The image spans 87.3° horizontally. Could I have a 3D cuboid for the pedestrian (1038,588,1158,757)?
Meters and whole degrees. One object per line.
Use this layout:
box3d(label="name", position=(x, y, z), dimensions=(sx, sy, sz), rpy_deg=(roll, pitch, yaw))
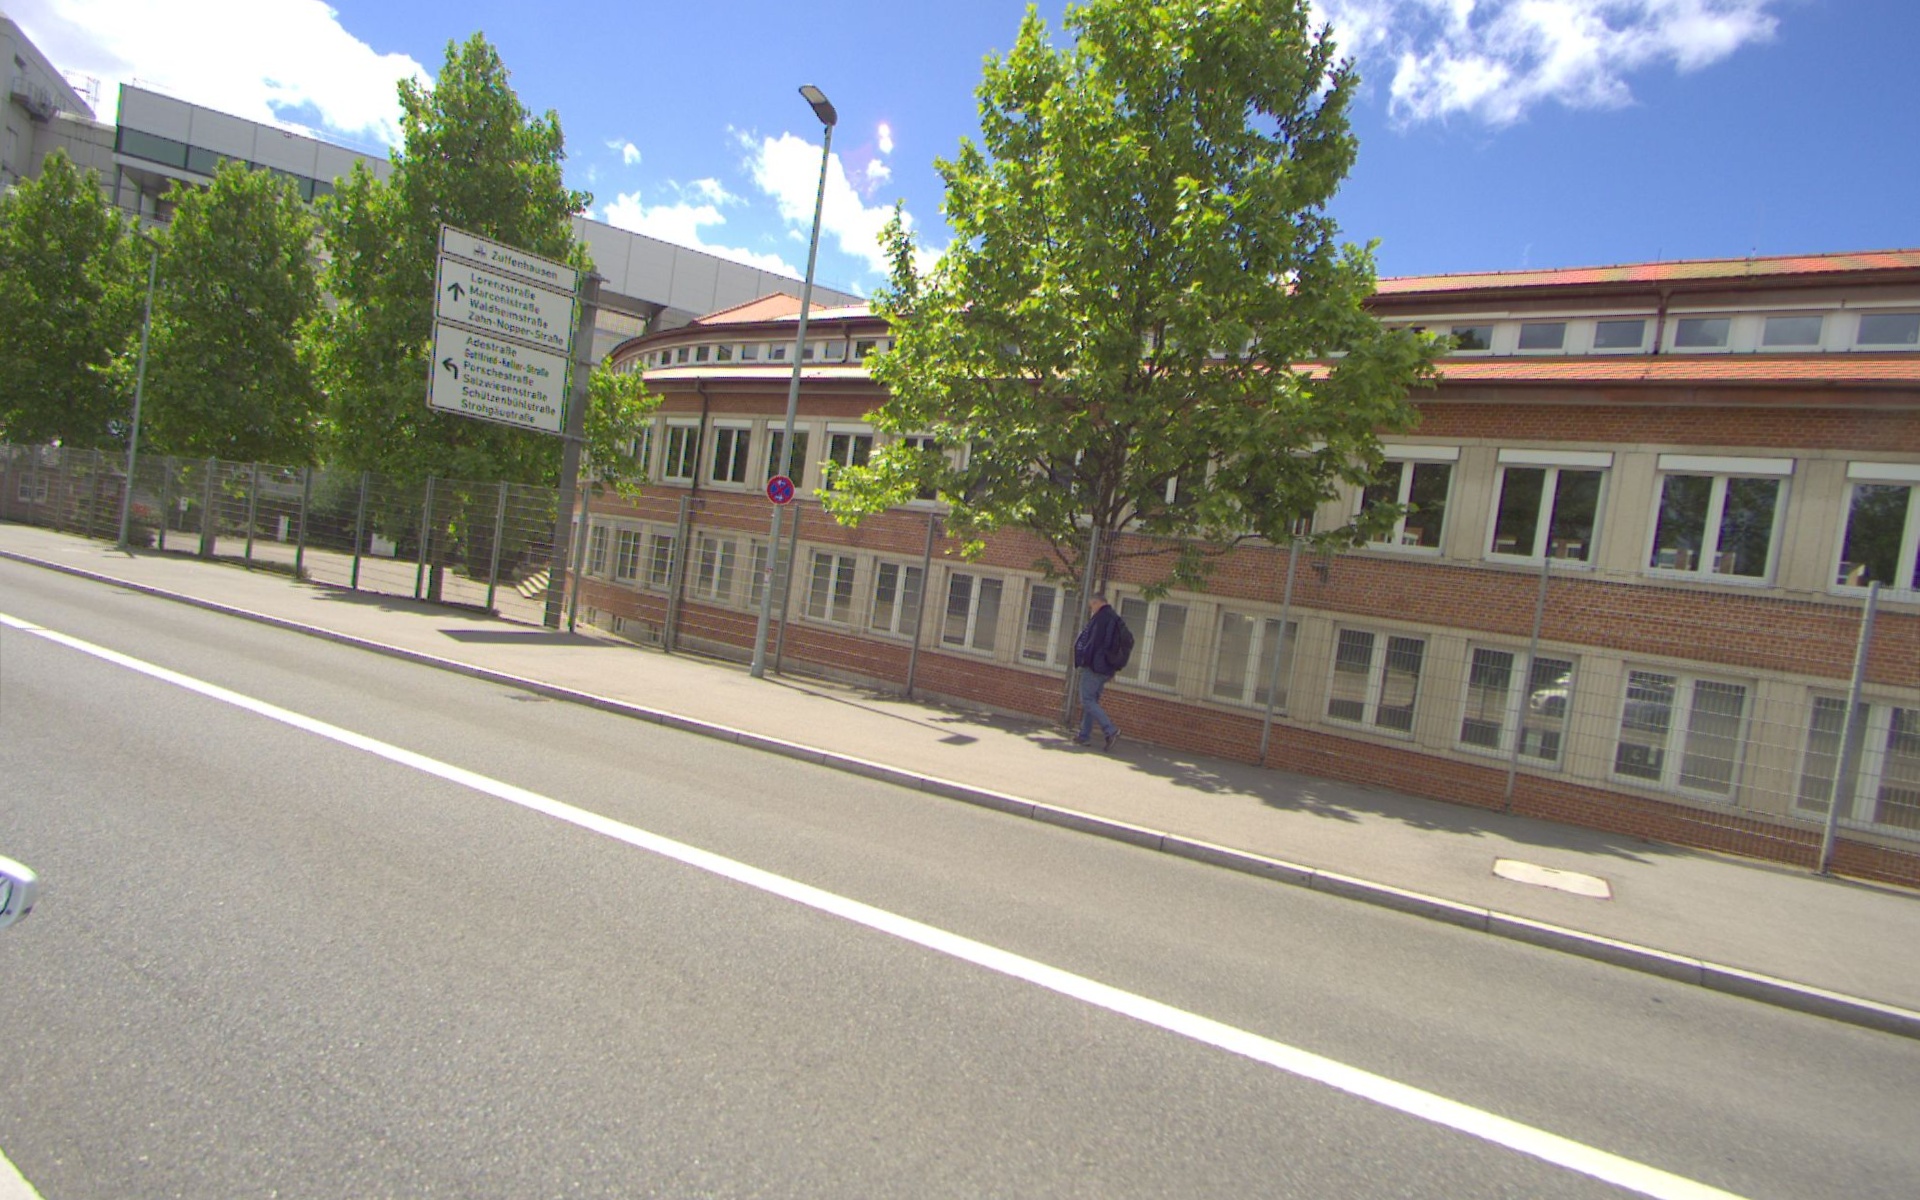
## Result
box3d(label="pedestrian", position=(1.589, 0.803, 11.530), dimensions=(0.925, 1.767, 0.877), rpy_deg=(7, 3, 31))
